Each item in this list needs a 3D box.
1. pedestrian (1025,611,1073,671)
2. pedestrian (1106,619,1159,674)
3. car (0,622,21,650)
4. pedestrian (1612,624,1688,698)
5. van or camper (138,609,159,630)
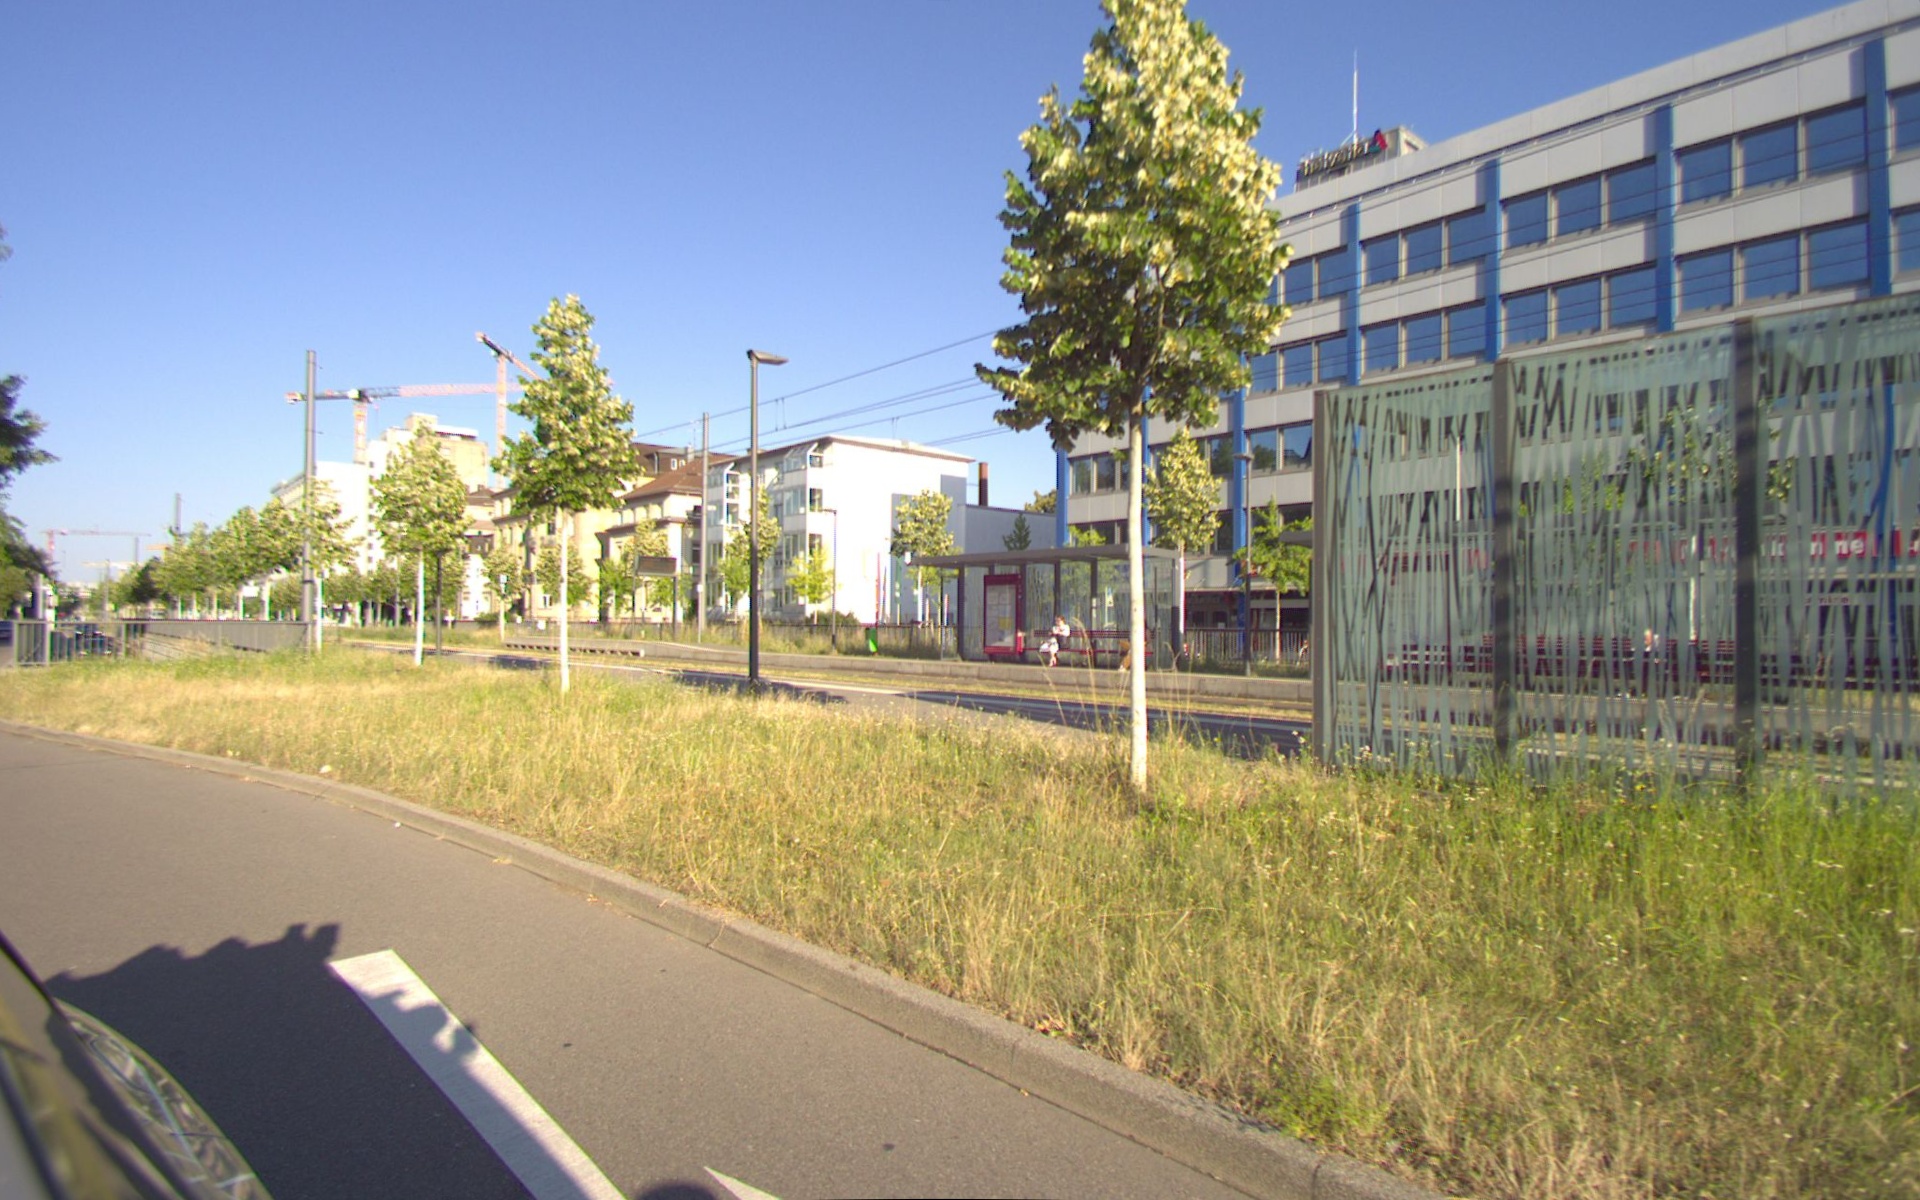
[{"bbox_3d":[2.158,0.992,24.508,0.828,1.421,0.805,2,-2,-42],"label":"pedestrian"},{"bbox_3d":[3.851,1.025,22.566,0.922,1.206,0.765,2,-2,-42],"label":"pedestrian"},{"bbox_3d":[-64.940,2.429,68.346,2.050,1.852,4.005,2,-2,-41],"label":"car"},{"bbox_3d":[10.207,0.886,14.970,0.619,1.055,0.795,2,-2,-42],"label":"pedestrian"},{"bbox_3d":[-125.662,3.074,156.746,2.473,3.192,7.489,1,-2,-39],"label":"van or camper"}]
